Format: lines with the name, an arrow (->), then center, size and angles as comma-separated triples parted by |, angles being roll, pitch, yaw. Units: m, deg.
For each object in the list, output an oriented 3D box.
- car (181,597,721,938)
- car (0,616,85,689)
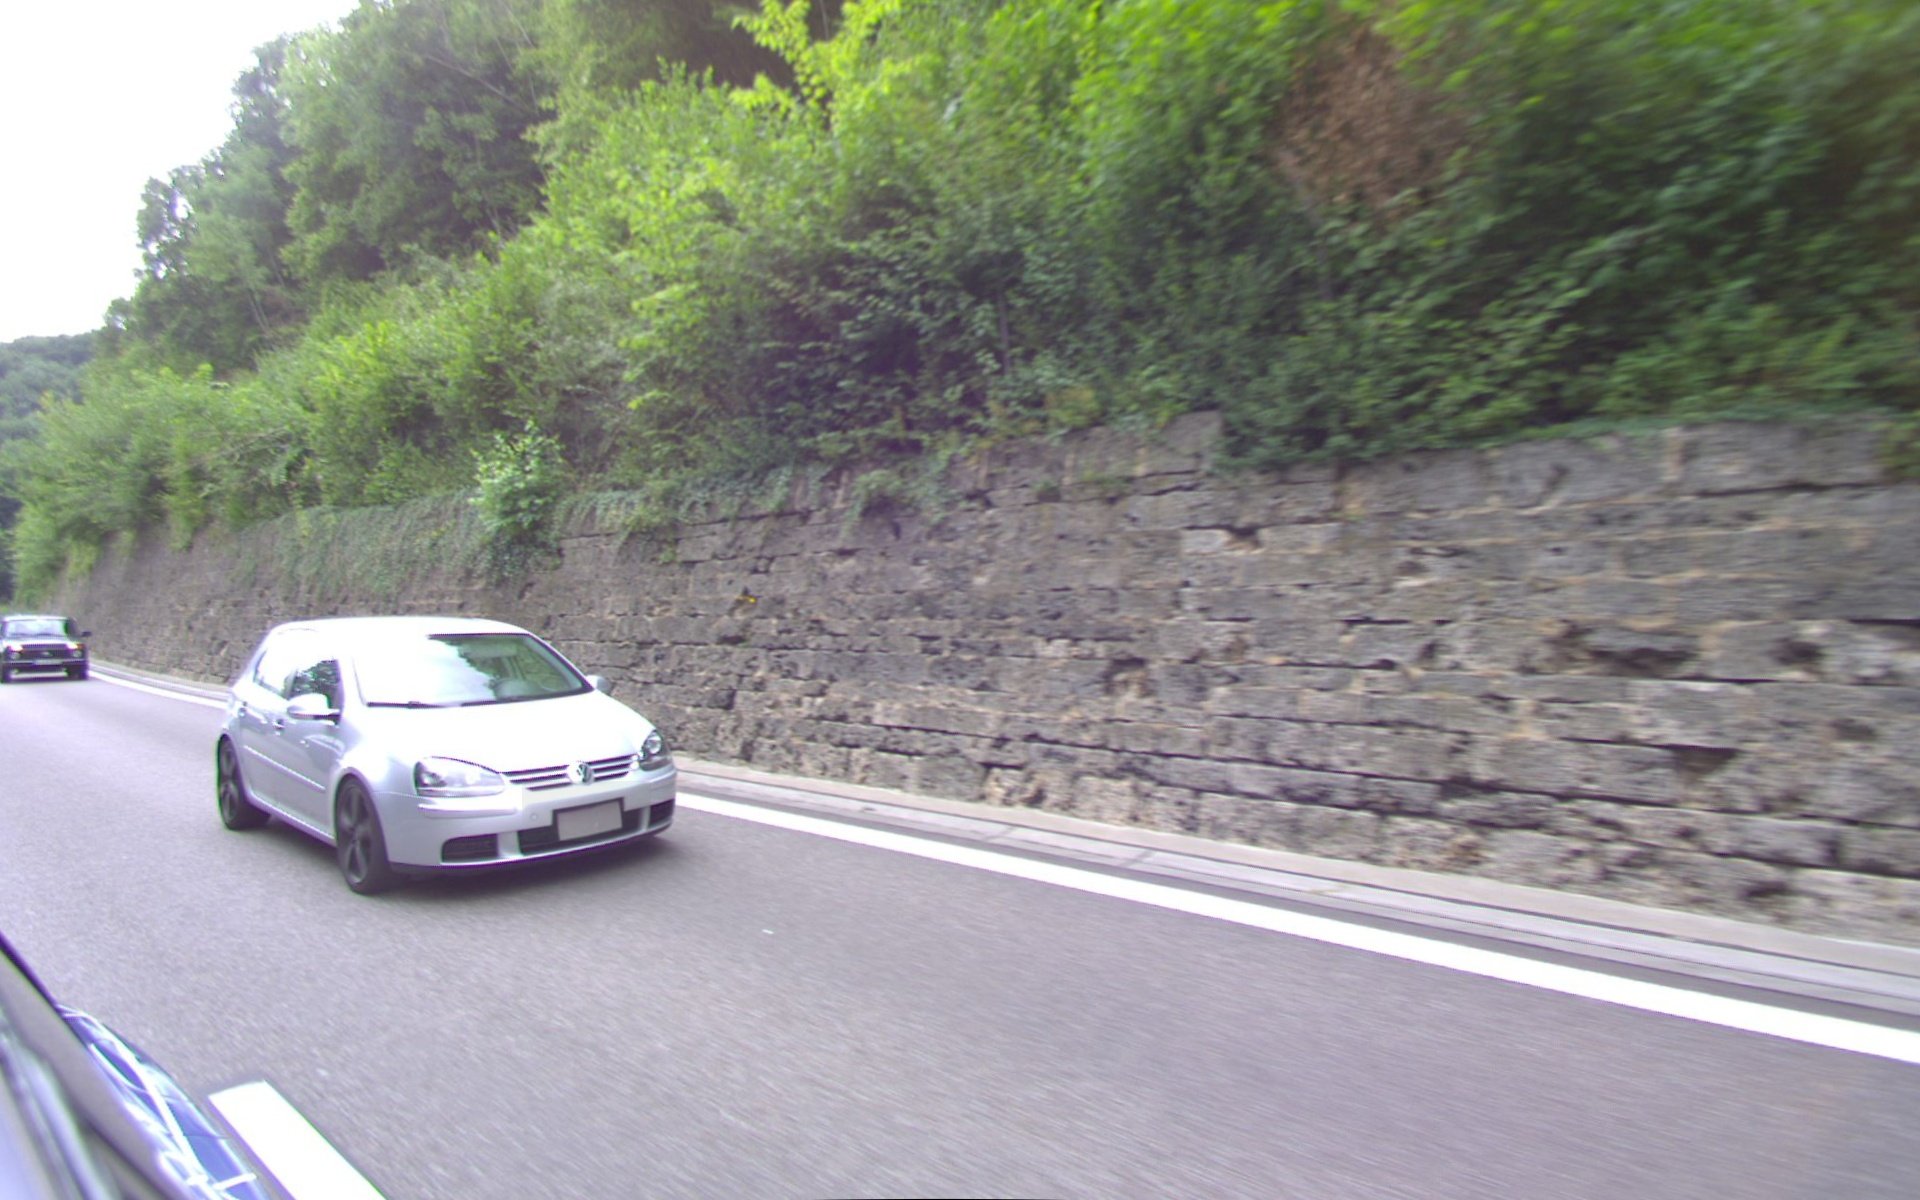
car -> -3.643, 0.797, 6.759 | 4.582, 1.526, 1.663 | -1, 0, 42
car -> -23.667, 1.282, 25.840 | 1.787, 1.668, 4.587 | -1, 0, -44
